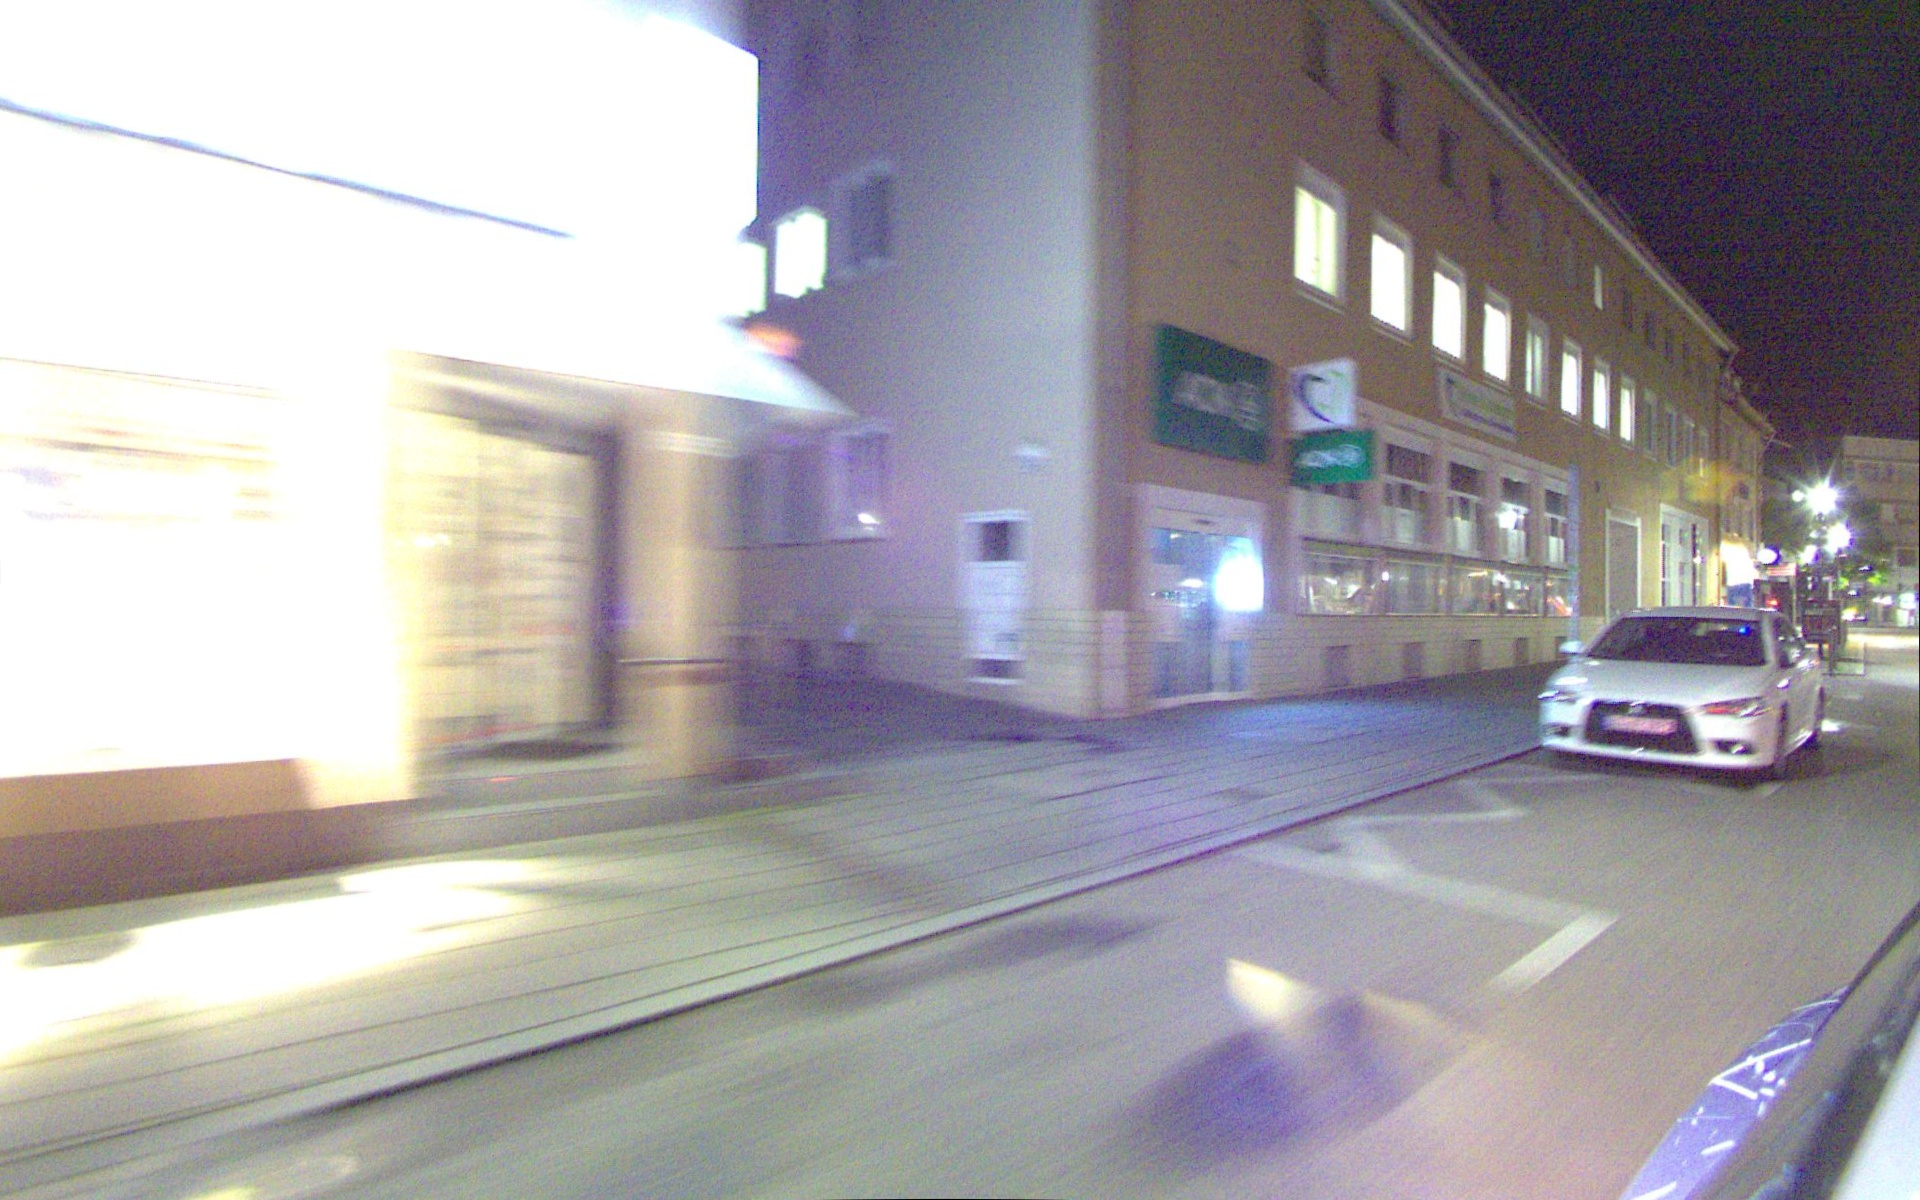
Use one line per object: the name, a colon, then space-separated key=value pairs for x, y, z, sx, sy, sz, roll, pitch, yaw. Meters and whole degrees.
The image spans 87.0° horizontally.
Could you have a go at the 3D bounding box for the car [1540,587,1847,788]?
car: x=7.422 y=0.647 z=10.037 sx=4.560 sy=1.506 sz=1.743 roll=-1 pitch=1 yaw=-44
